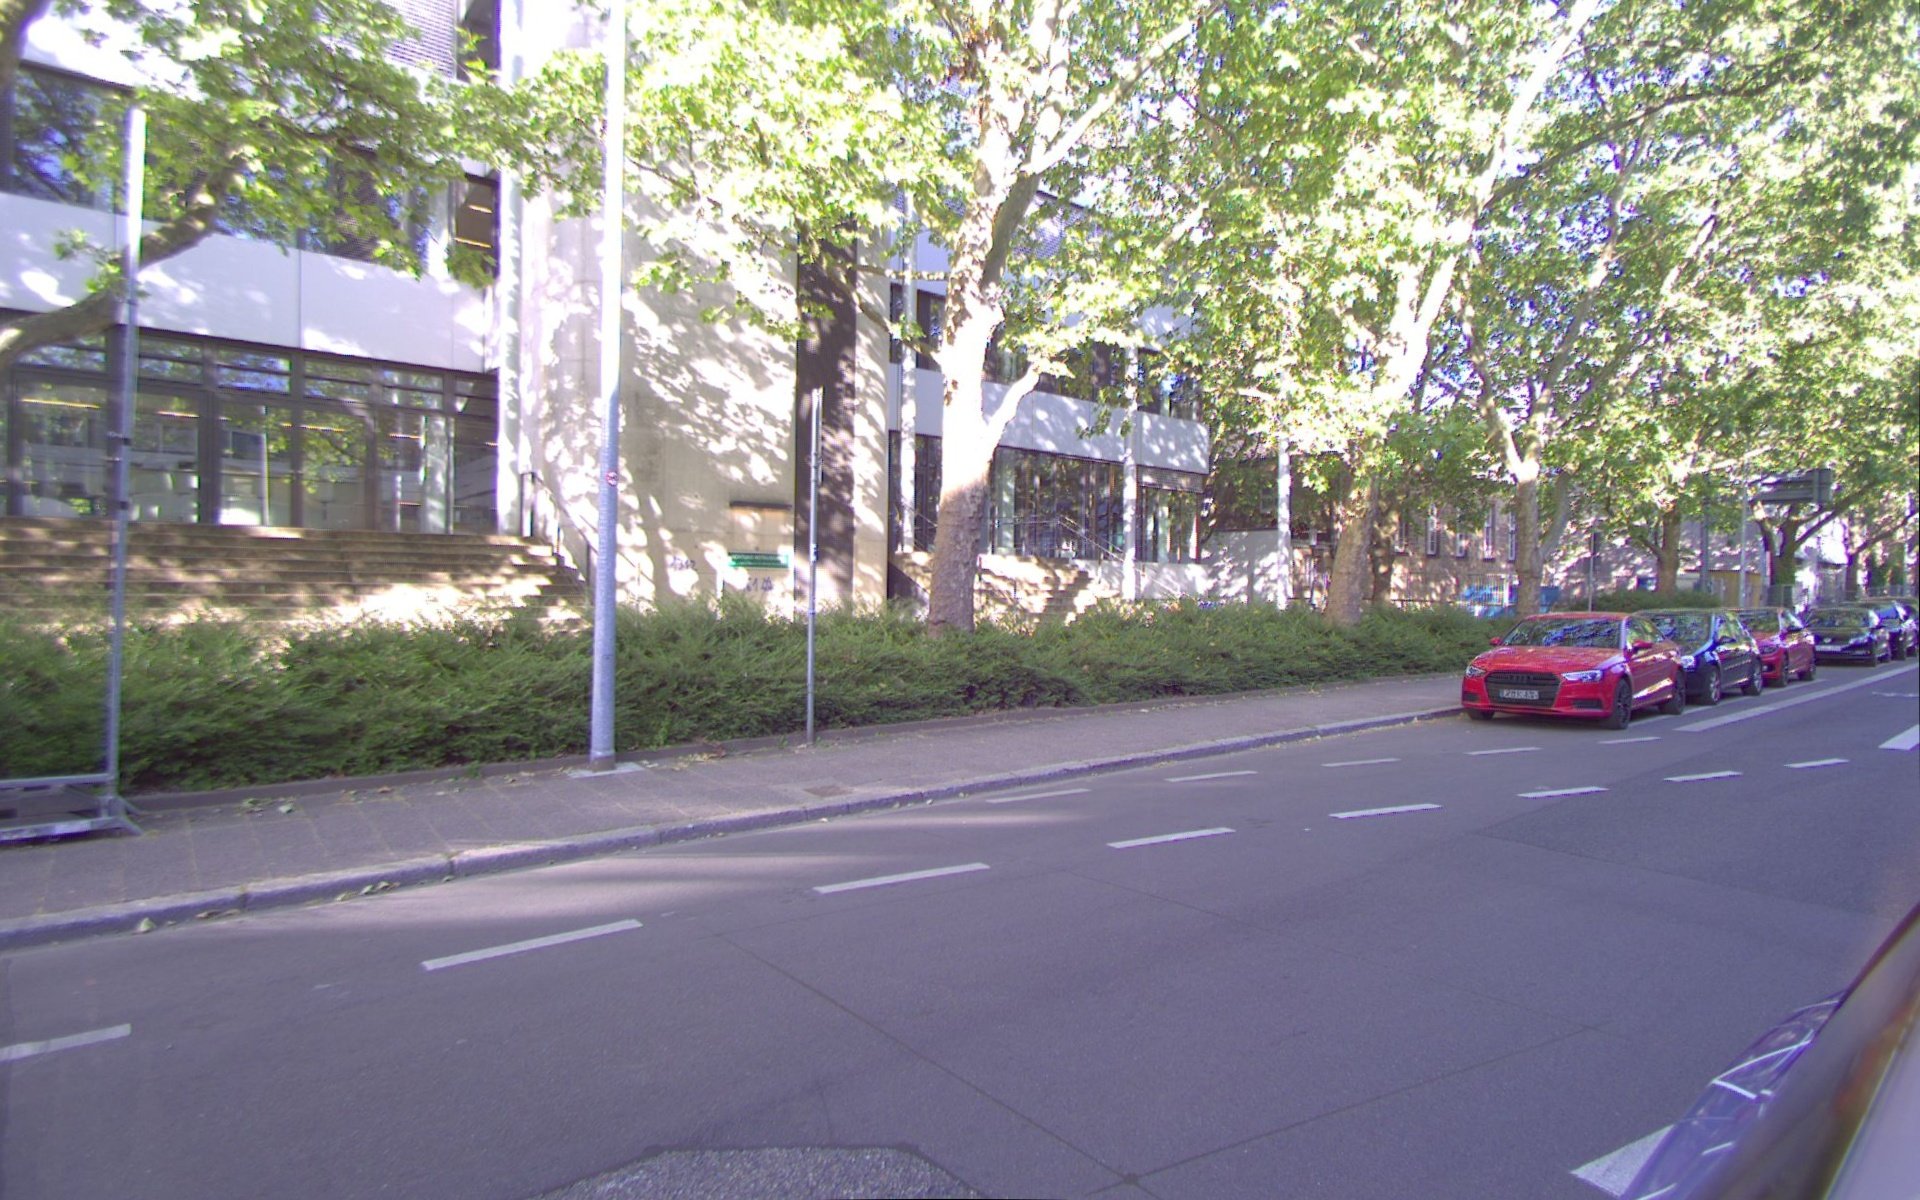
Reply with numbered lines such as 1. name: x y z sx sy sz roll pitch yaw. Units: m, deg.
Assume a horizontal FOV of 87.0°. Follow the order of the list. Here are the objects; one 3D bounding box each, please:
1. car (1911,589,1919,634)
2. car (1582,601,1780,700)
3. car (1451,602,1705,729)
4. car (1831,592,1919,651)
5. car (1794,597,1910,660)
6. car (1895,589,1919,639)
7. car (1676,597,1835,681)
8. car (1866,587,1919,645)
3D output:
1. car: 39.622 0.437 40.404 4.475 1.777 2.040 0 -1 -42
2. car: 11.950 0.737 16.688 4.092 1.431 1.815 0 -1 -42
3. car: 8.357 0.752 13.549 4.092 1.431 1.815 0 -1 -42
4. car: 26.592 0.587 29.135 4.092 1.573 1.788 0 -1 -42
5. car: 23.047 0.678 26.103 4.092 1.478 1.788 0 -1 -42
6. car: 35.905 0.482 37.254 4.475 1.777 1.788 0 -1 -42
7. car: 15.855 0.699 20.110 4.092 1.502 1.815 0 -1 -42
8. car: 31.052 0.487 33.018 4.271 1.777 1.788 0 -1 -42
